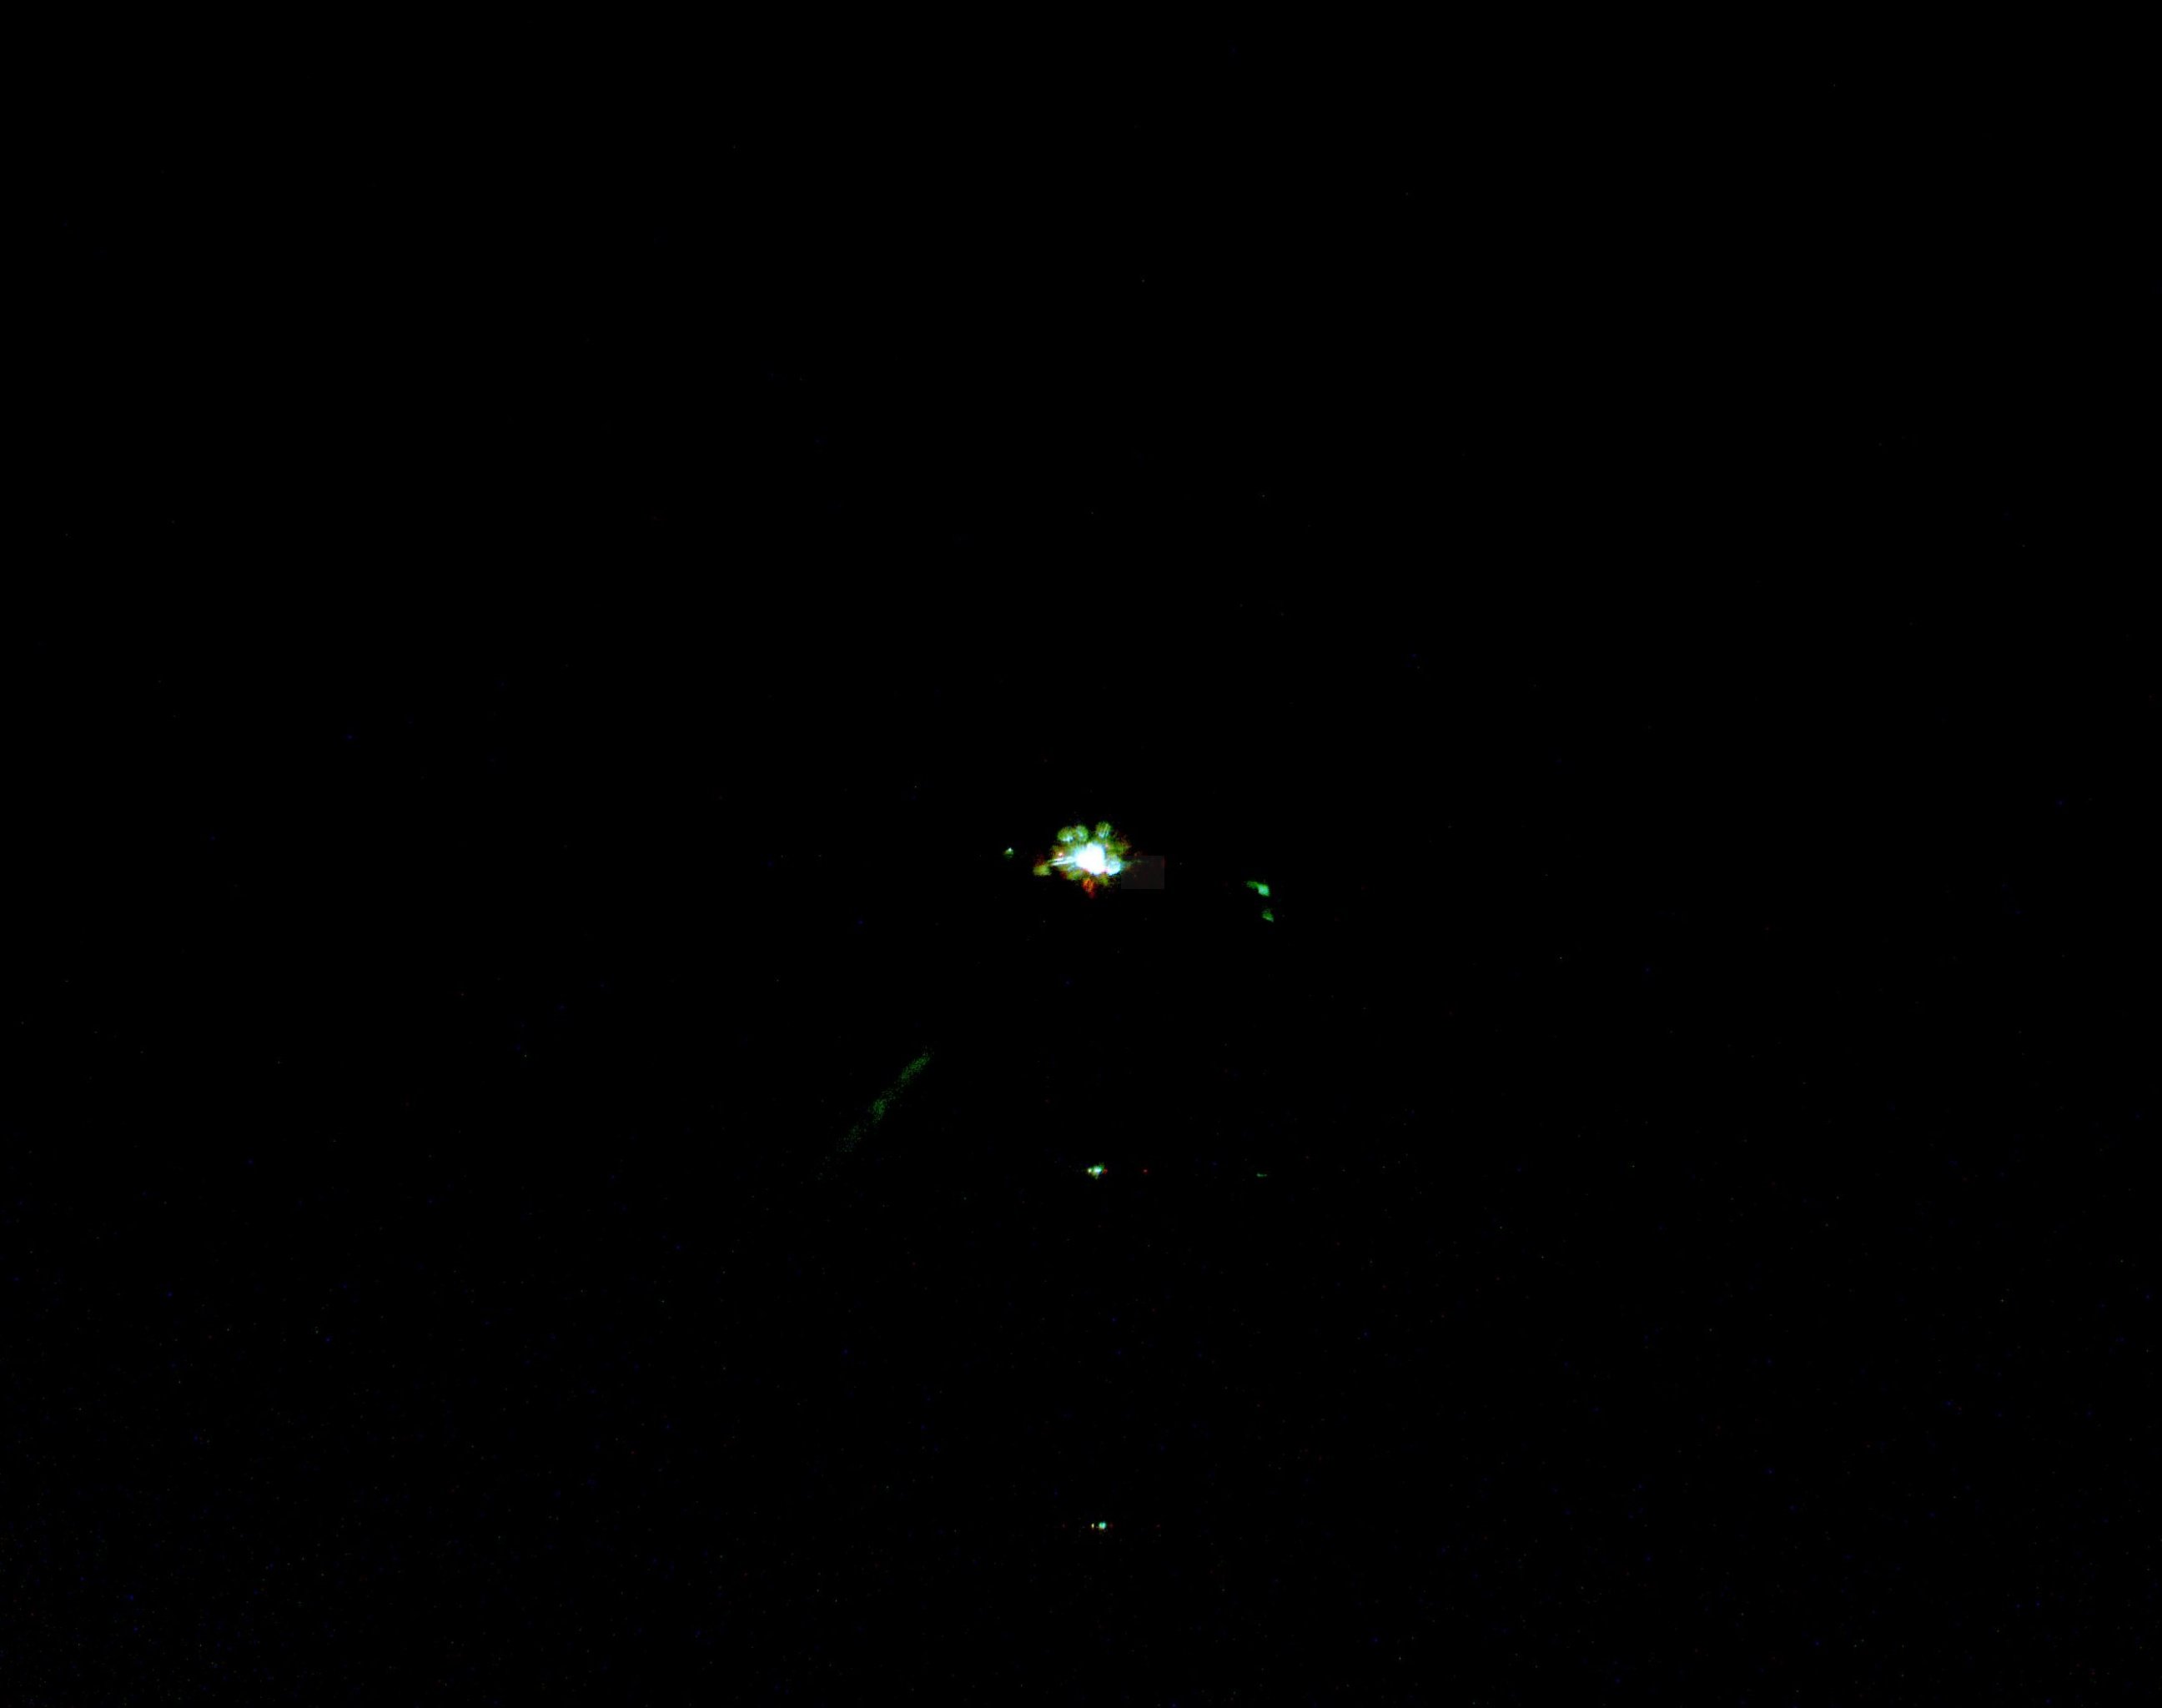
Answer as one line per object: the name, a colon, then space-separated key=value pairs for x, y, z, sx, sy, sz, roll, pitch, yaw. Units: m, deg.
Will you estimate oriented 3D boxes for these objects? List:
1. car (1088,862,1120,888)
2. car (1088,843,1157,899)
car: x=1.929 y=1.800 z=69.837 sx=1.992 sy=2.014 sz=3.989 roll=-2 pitch=-1 yaw=-8
car: x=1.695 y=0.715 z=32.987 sx=2.448 sy=1.958 sz=4.914 roll=-4 pitch=-2 yaw=3
